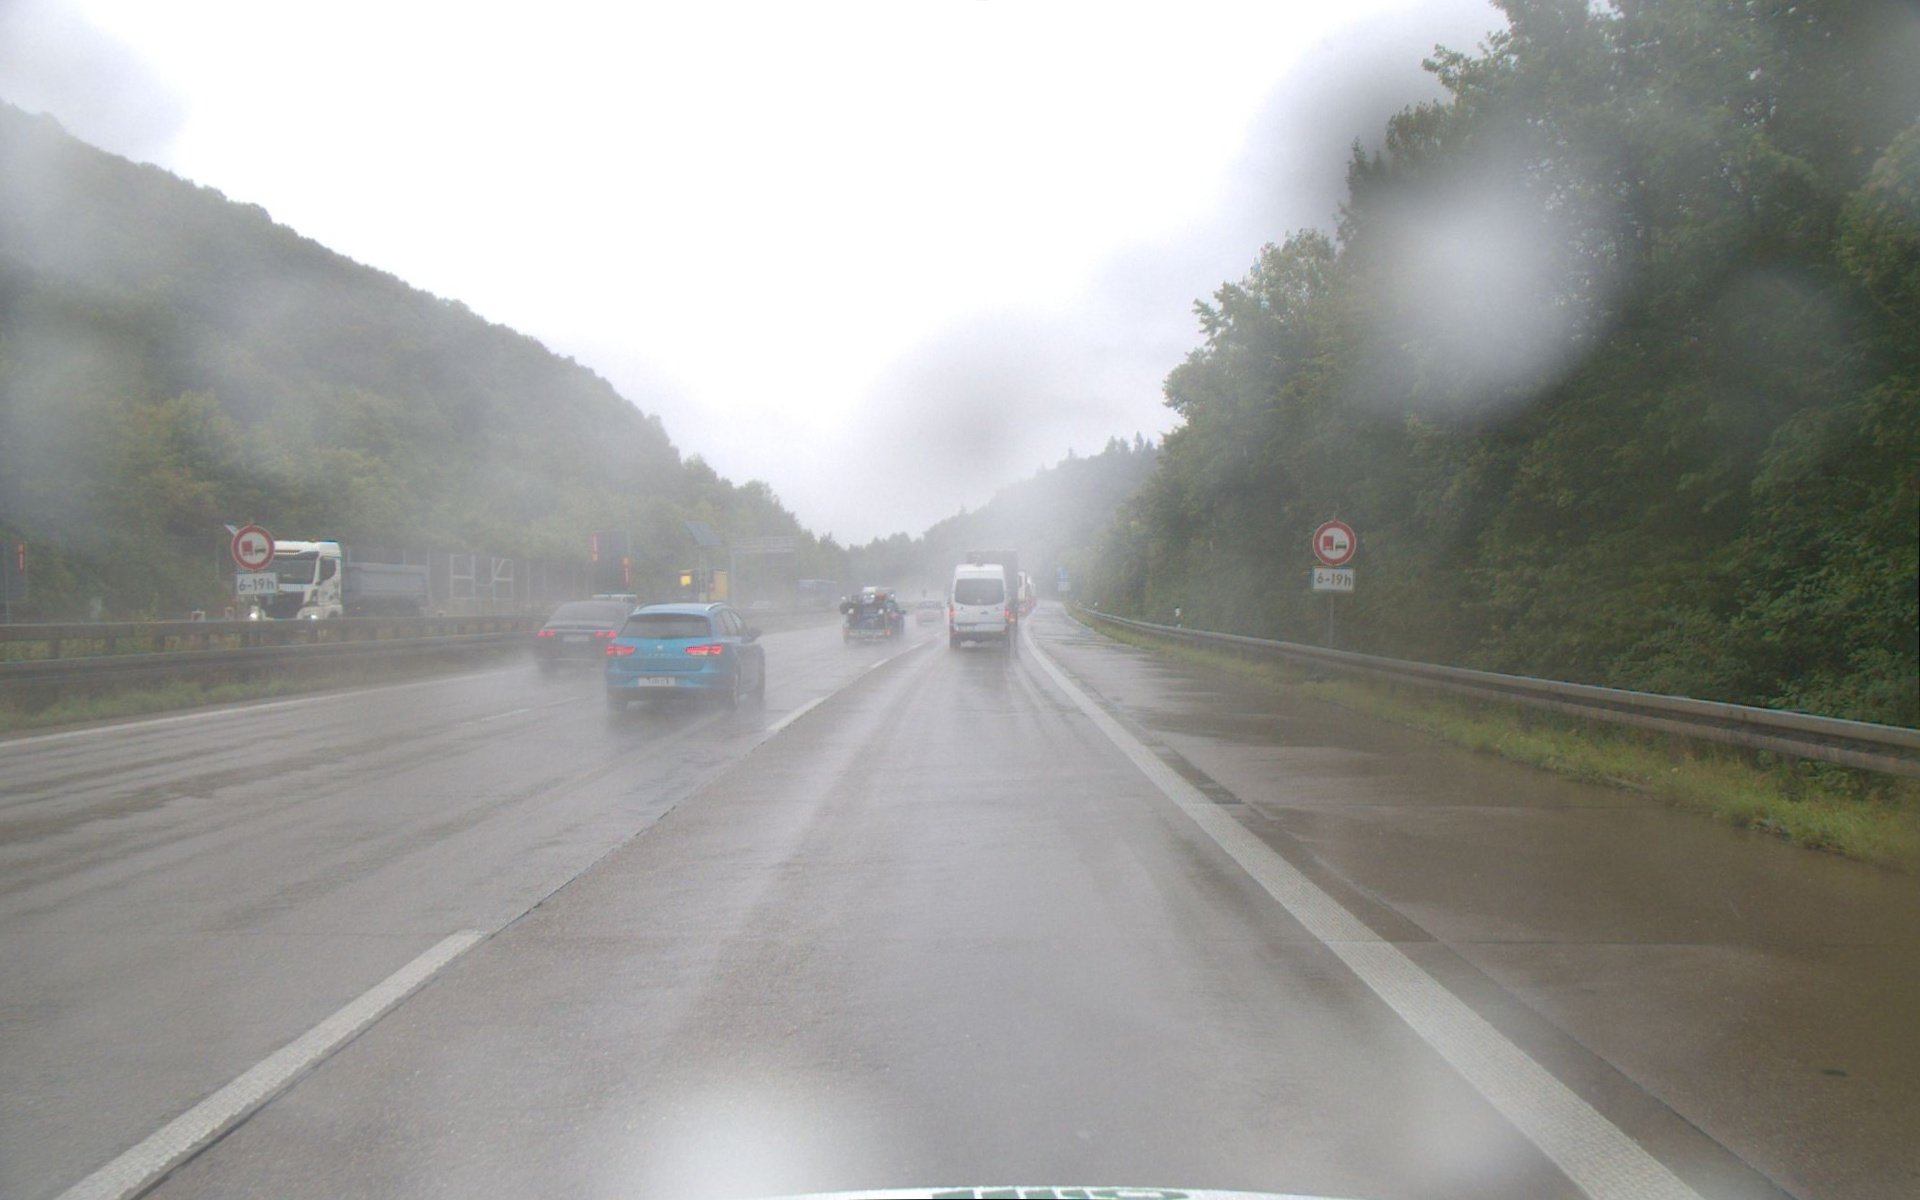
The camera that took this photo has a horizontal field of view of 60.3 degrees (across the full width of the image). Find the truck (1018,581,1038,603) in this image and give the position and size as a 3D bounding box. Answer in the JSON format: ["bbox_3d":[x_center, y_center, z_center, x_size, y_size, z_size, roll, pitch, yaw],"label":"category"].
[{"bbox_3d":[9.326,-1.079,228.746,2.532,3.033,9.027,1,0,1],"label":"truck"}]

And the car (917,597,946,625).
[{"bbox_3d":[-1.758,0.657,102.529,1.581,1.656,4.189,1,0,1],"label":"car"}]

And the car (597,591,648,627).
[{"bbox_3d":[-20.206,0.554,99.156,1.936,2.049,5.198,1,0,0],"label":"car"}]

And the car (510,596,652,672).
[{"bbox_3d":[-7.362,0.621,32.552,1.818,1.362,4.350,1,0,-1],"label":"car"}]

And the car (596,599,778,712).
[{"bbox_3d":[-3.646,0.689,22.822,1.818,1.362,4.350,1,0,-1],"label":"car"}]

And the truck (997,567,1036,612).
[{"bbox_3d":[5.253,-0.907,151.972,3.025,3.978,9.059,1,0,5],"label":"truck"}]

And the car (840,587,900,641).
[{"bbox_3d":[-3.242,0.484,60.166,1.830,1.841,4.189,1,0,1],"label":"car"}]

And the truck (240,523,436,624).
[{"bbox_3d":[-22.991,-0.922,62.001,2.716,3.373,11.518,1,0,1],"label":"truck"}]

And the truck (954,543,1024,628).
[{"bbox_3d":[1.614,-0.863,86.350,3.315,4.037,8.670,-3,2,2],"label":"truck"}]

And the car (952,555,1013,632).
[{"bbox_3d":[0.776,-0.202,54.263,1.860,2.374,5.251,1,0,1],"label":"car"}]
